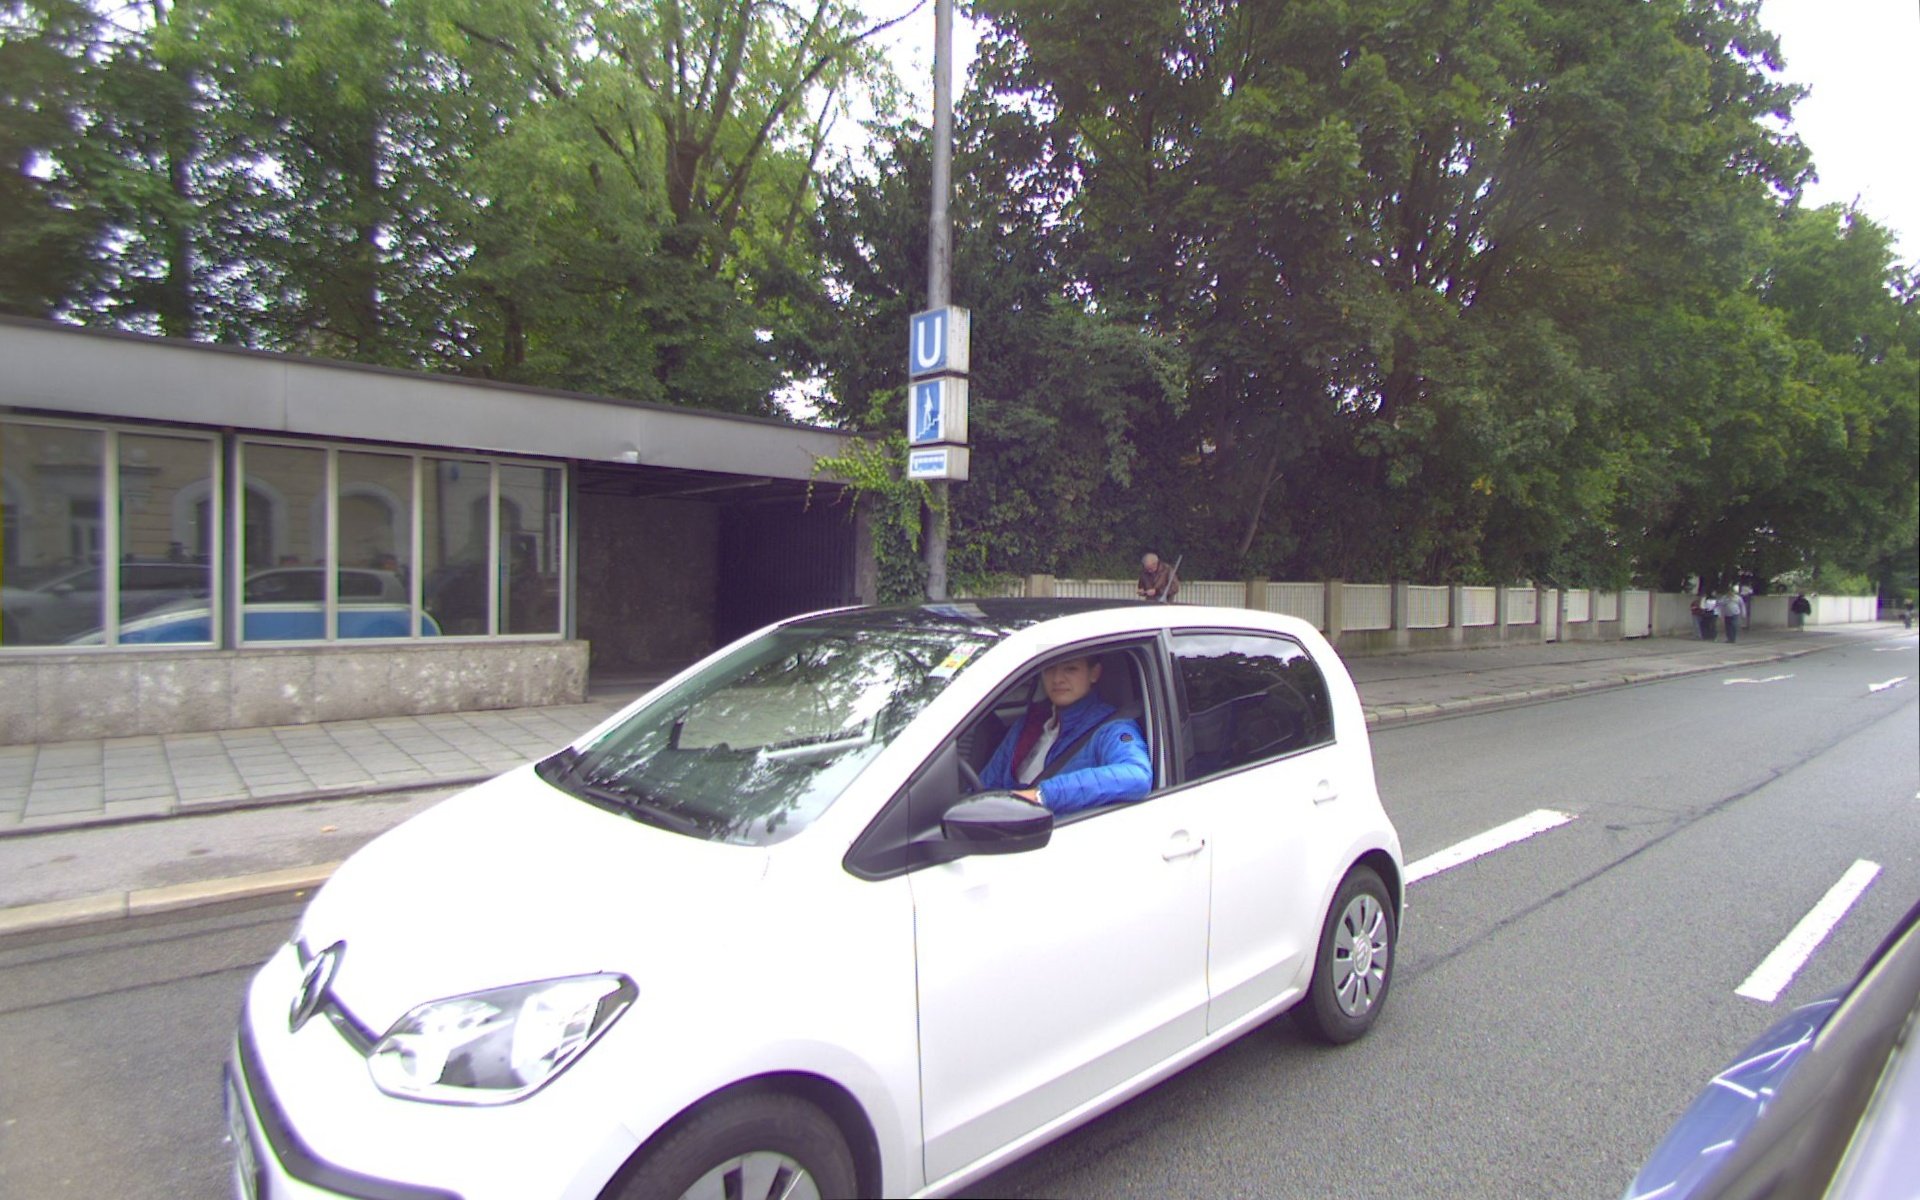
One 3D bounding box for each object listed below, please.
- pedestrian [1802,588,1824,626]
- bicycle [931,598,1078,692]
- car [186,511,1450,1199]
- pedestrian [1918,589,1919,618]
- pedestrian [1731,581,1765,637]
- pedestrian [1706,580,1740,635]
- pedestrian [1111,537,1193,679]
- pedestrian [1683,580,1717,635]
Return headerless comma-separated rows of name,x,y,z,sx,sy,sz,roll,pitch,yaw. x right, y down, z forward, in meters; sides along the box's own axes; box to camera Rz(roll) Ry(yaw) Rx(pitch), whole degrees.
pedestrian,36.979,0.301,43.875,0.716,1.600,0.529,0,3,-42
bicycle,0.598,0.532,12.906,1.991,1.104,0.623,0,1,-41
car,-0.093,0.650,3.106,3.524,1.581,1.645,0,1,-42
pedestrian,53.082,0.193,55.605,0.716,1.600,0.529,0,3,-42
pedestrian,25.105,0.291,32.244,0.753,1.726,0.667,0,3,-42
pedestrian,24.678,0.229,32.722,0.753,1.726,0.667,0,3,-42
pedestrian,2.742,0.092,14.465,0.788,1.966,0.779,0,2,-40
pedestrian,24.261,0.235,33.193,0.753,1.726,0.667,0,3,-42
